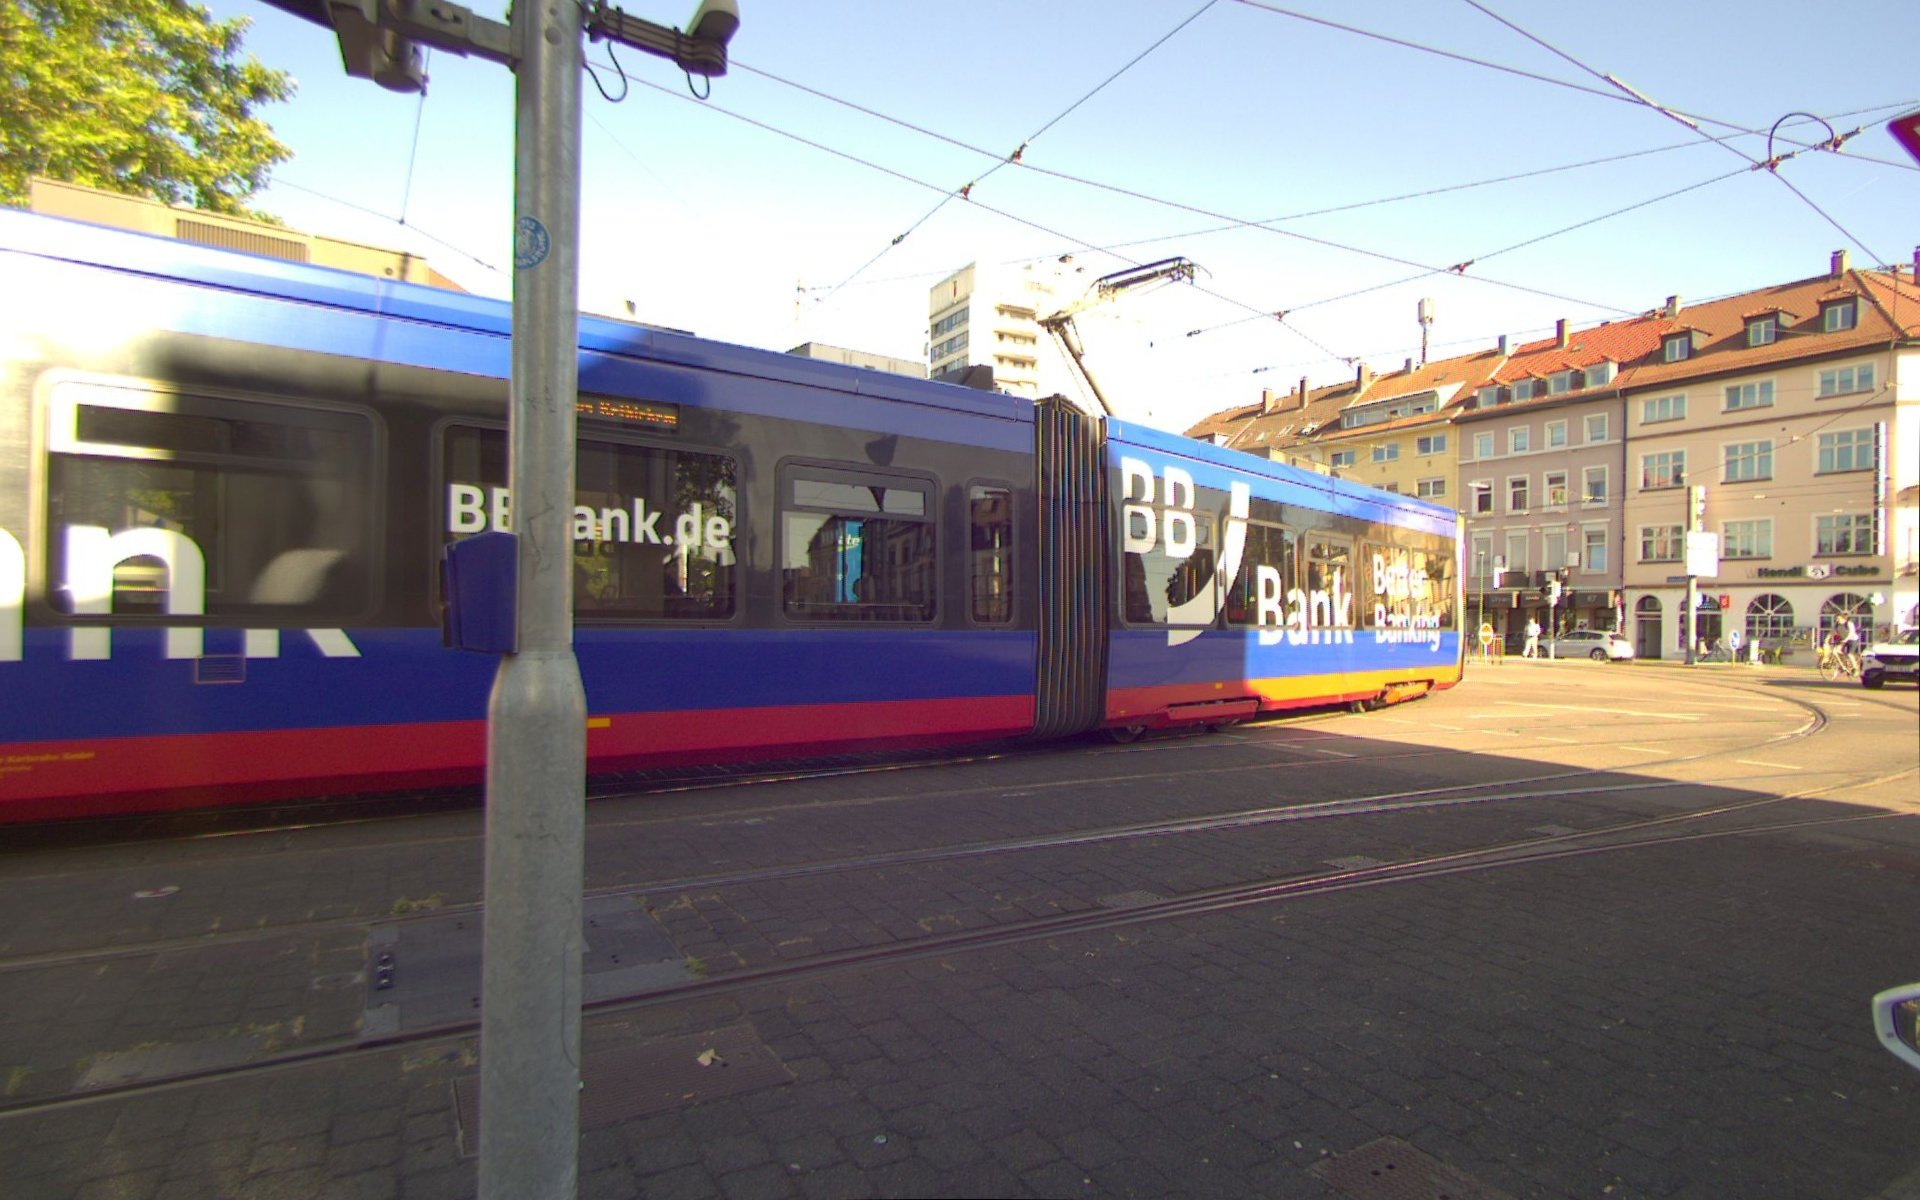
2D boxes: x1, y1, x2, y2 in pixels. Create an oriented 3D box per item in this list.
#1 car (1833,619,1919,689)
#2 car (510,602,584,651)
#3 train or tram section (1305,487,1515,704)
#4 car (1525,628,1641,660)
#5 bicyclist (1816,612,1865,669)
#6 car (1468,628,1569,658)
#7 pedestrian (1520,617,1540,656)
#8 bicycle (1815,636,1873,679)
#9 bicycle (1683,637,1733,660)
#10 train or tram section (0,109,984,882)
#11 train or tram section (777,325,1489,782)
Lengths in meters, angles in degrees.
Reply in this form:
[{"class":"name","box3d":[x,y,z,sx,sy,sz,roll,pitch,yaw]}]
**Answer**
[{"class":"car","box3d":[22.606,1.232,23.429,4.293,1.517,1.986,1,-1,-28]},{"class":"car","box3d":[-13.615,0.850,32.969,1.697,1.506,4.185,1,-1,-30]},{"class":"train or tram section","box3d":[10.734,0.054,22.942,3.011,3.661,12.090,0,-1,31]},{"class":"car","box3d":[29.064,2.021,46.962,1.979,1.373,4.184,1,-1,-33]},{"class":"bicyclist","box3d":[24.560,1.120,28.023,0.974,1.580,0.712,1,-1,-27]},{"class":"car","box3d":[30.574,2.329,55.088,1.725,1.459,4.614,2,-1,-32]},{"class":"pedestrian","box3d":[24.416,1.569,43.024,0.714,1.648,0.670,0,-1,31]},{"class":"bicycle","box3d":[24.820,1.610,28.196,2.029,1.181,0.483,1,-1,-27]},{"class":"bicycle","box3d":[37.533,2.403,50.433,0.578,1.081,1.929,1,-1,-36]},{"class":"train or tram section","box3d":[-5.568,-0.491,5.888,11.994,3.661,3.035,2,-1,-35]},{"class":"train or tram section","box3d":[3.552,-0.231,13.586,3.023,3.661,12.426,0,-1,44]}]
